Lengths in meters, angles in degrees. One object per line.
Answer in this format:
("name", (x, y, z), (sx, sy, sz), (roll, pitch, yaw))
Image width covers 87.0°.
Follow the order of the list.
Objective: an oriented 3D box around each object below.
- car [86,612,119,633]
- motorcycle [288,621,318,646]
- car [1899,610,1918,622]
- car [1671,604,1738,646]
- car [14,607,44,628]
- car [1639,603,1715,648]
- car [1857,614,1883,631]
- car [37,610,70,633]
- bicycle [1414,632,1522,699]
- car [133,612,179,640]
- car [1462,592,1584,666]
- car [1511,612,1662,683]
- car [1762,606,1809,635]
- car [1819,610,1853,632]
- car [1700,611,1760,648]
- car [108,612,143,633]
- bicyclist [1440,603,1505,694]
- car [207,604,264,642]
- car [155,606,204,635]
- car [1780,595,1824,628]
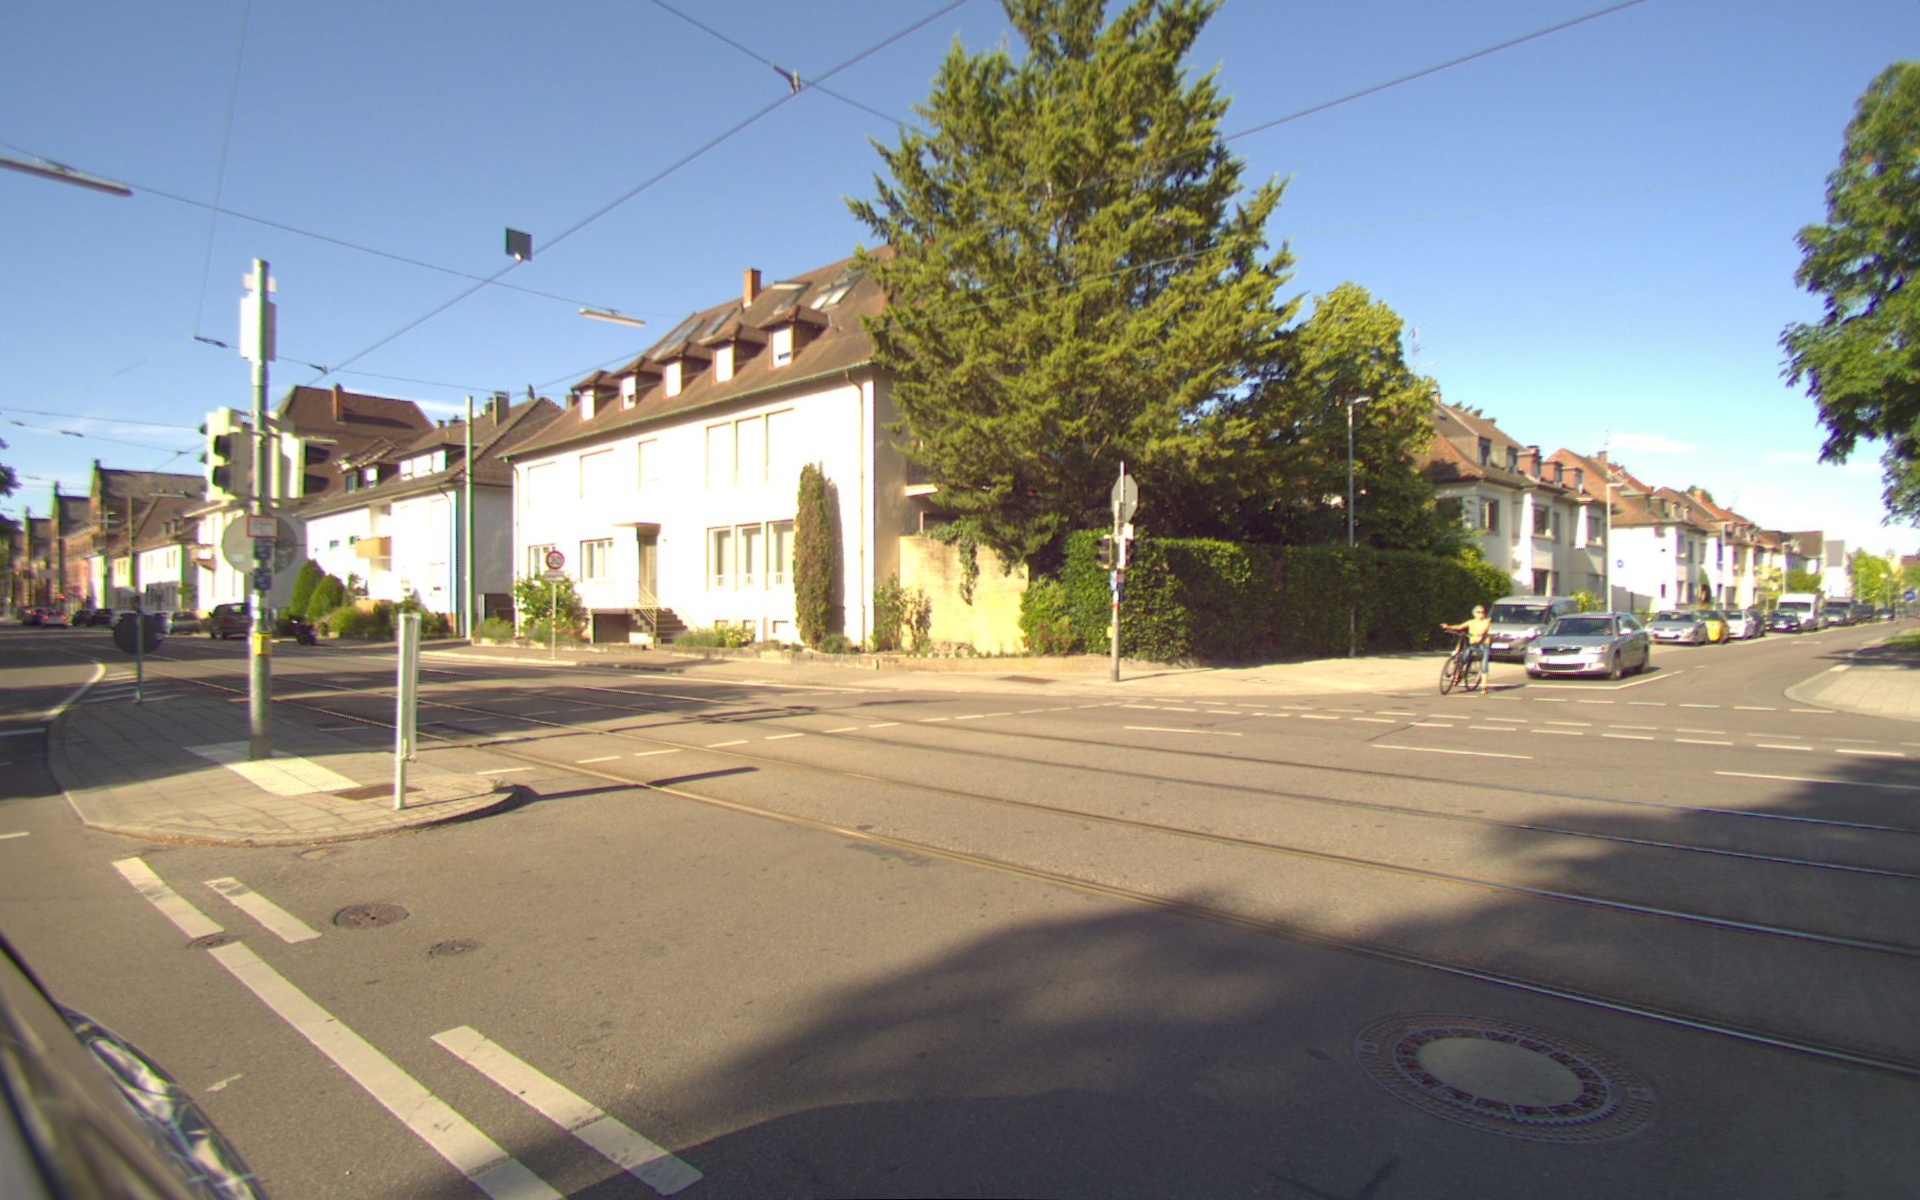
("car", (-76.154, 2.021, 89.881), (4.002, 1.727, 1.897), (-1, 1, 45))
("motorcycle", (-28.893, 1.467, 44.482), (0.597, 1.054, 2.439), (-2, 1, -45))
("car", (139.694, 2.411, 149.056), (3.829, 1.756, 1.818), (0, -1, -45))
("car", (32.776, 1.061, 44.527), (3.829, 1.756, 1.818), (0, -1, -45))
("car", (-82.521, 1.518, 89.713), (1.896, 1.727, 4.004), (-2, 1, -43))
("car", (29.222, 1.016, 41.193), (4.139, 1.756, 1.818), (0, -1, -45))
("car", (96.686, 2.424, 107.544), (3.829, 1.756, 1.818), (0, -1, -45))
("car", (-72.506, 1.720, 80.936), (1.896, 1.727, 4.004), (-2, 1, -43))
("bicycle", (9.371, 1.173, 18.633), (2.251, 1.126, 0.931), (0, -1, -39))
("car", (-54.314, 1.739, 68.354), (4.001, 1.727, 1.898), (-1, 1, 44))
("car", (15.654, 0.771, 28.035), (4.252, 1.881, 1.818), (0, -1, -45))
("car", (14.152, 1.009, 22.790), (3.938, 1.444, 1.819), (0, -1, -41))
("car", (51.097, 1.246, 62.619), (3.829, 1.756, 1.818), (0, -1, -45))
("car", (72.881, 1.760, 84.182), (3.829, 1.756, 1.818), (0, -1, -45))
("car", (38.050, 1.422, 50.007), (3.829, 1.756, 1.818), (0, -1, -45))
("car", (-65.616, 1.769, 79.575), (1.896, 1.576, 4.004), (-2, 1, -43))
("bicyclist", (9.488, 0.874, 18.747), (0.551, 1.635, 0.900), (1, -1, -39))
("car", (-39.537, 1.229, 55.212), (1.897, 1.915, 4.003), (-2, 1, -44))
("car", (-50.235, 1.292, 65.132), (4.001, 1.727, 1.898), (-1, 1, 44))
("car", (55.560, 0.765, 66.724), (4.121, 2.110, 1.818), (0, -1, -45))
